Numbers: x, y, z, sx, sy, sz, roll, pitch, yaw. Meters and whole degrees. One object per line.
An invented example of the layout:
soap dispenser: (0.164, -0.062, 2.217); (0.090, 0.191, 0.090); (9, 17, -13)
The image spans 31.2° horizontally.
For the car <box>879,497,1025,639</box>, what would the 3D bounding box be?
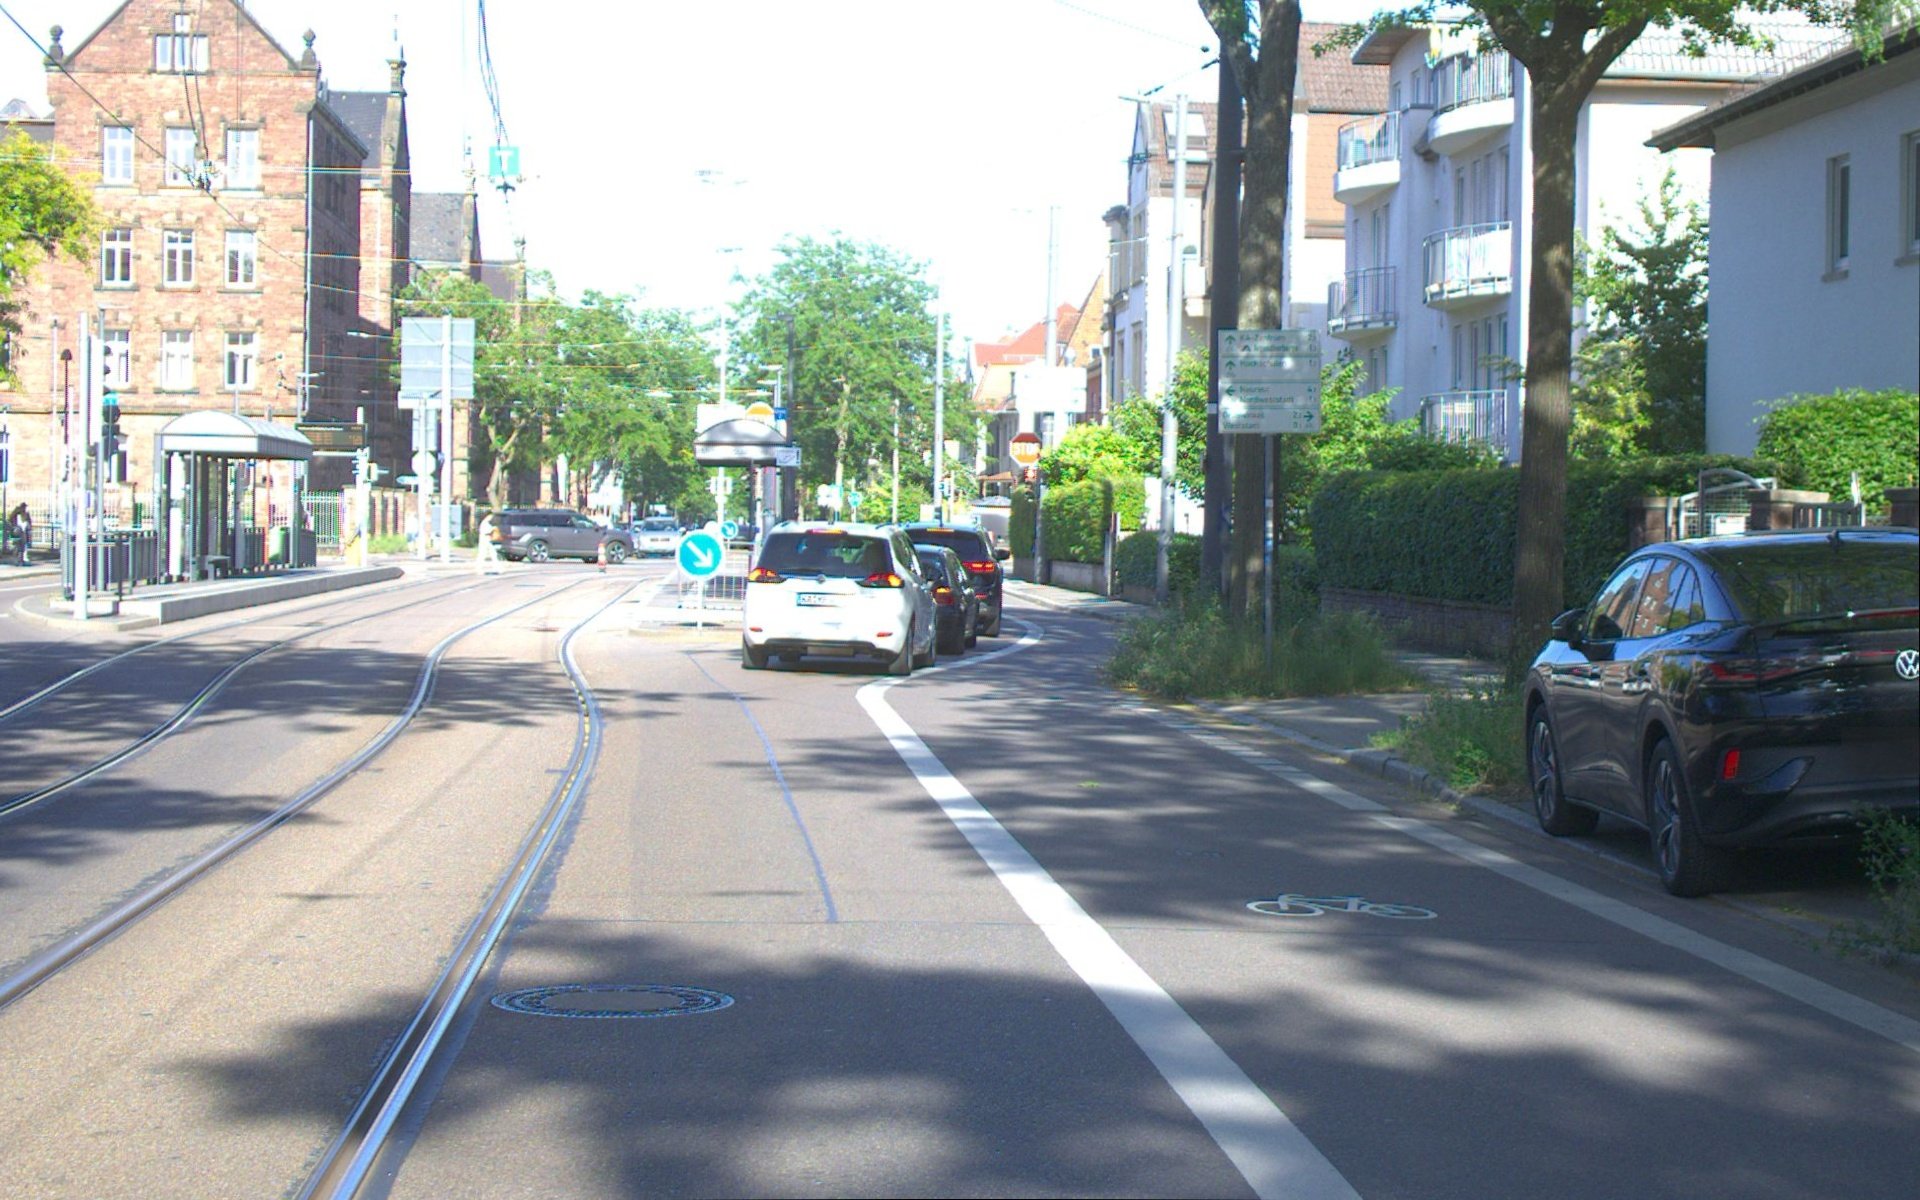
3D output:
car: (-0.080, -0.503, 51.224); (1.709, 2.007, 3.906); (1, 1, 7)

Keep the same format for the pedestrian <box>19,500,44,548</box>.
pedestrian: (-24.801, -2.035, 91.833); (0.558, 1.255, 0.530); (1, 1, -4)

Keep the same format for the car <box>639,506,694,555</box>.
car: (-11.765, -2.762, 137.871); (1.993, 1.907, 4.000); (1, 1, -2)

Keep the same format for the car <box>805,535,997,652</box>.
car: (-0.721, -0.118, 45.083); (1.994, 1.437, 3.999); (1, 1, 6)

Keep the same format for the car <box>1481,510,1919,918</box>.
car: (3.974, 0.434, 17.179); (1.804, 1.688, 4.729); (-3, 1, -2)

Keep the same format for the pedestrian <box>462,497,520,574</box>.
pedestrian: (-12.467, -1.709, 91.416); (1.156, 2.007, 1.119); (1, 1, 16)

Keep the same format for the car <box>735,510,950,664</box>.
car: (-1.256, -0.116, 38.462); (1.893, 1.605, 4.228); (1, -1, 5)
